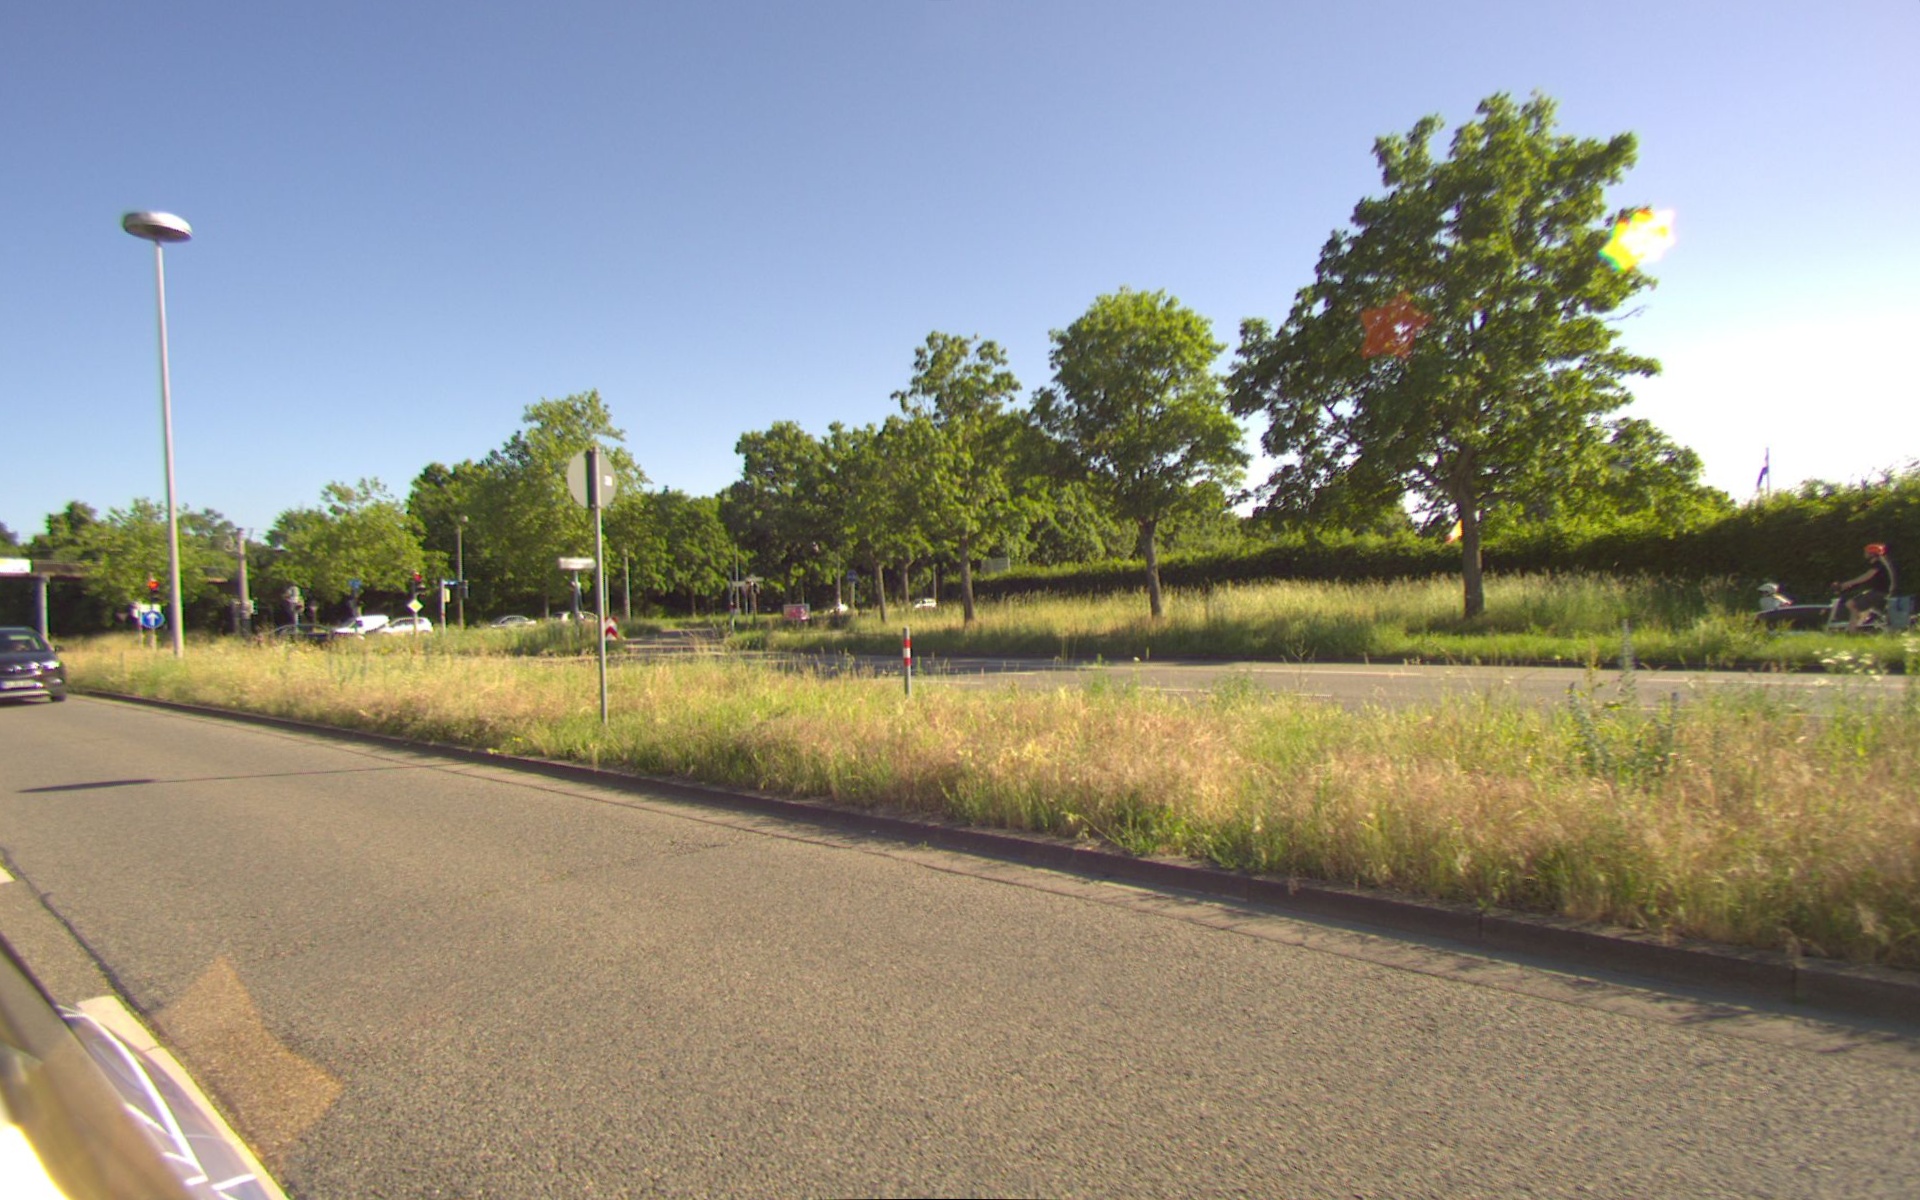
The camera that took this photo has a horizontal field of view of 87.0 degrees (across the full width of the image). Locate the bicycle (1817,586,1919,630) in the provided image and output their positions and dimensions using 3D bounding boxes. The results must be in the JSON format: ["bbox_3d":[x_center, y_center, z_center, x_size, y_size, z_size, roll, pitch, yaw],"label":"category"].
[{"bbox_3d":[15.775,0.137,17.116,0.558,0.700,1.877,-3,0,-42],"label":"bicycle"}]

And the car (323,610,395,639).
[{"bbox_3d":[-42.087,1.706,70.982,1.772,1.768,3.957,-2,1,32],"label":"car"}]

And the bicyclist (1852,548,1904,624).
[{"bbox_3d":[15.642,-0.237,17.241,0.576,1.266,0.576,-3,1,-42],"label":"bicyclist"}]

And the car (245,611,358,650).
[{"bbox_3d":[-32.056,1.476,49.346,4.455,1.497,1.784,-4,0,-34],"label":"car"}]

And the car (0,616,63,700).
[{"bbox_3d":[-20.854,1.237,21.847,3.854,1.675,1.692,-2,0,41],"label":"car"}]

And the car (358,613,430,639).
[{"bbox_3d":[-38.897,1.750,69.591,1.847,1.572,3.883,-2,1,32],"label":"car"}]

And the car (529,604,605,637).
[{"bbox_3d":[-23.409,1.203,60.429,1.833,1.582,4.361,-4,1,18],"label":"car"}]
